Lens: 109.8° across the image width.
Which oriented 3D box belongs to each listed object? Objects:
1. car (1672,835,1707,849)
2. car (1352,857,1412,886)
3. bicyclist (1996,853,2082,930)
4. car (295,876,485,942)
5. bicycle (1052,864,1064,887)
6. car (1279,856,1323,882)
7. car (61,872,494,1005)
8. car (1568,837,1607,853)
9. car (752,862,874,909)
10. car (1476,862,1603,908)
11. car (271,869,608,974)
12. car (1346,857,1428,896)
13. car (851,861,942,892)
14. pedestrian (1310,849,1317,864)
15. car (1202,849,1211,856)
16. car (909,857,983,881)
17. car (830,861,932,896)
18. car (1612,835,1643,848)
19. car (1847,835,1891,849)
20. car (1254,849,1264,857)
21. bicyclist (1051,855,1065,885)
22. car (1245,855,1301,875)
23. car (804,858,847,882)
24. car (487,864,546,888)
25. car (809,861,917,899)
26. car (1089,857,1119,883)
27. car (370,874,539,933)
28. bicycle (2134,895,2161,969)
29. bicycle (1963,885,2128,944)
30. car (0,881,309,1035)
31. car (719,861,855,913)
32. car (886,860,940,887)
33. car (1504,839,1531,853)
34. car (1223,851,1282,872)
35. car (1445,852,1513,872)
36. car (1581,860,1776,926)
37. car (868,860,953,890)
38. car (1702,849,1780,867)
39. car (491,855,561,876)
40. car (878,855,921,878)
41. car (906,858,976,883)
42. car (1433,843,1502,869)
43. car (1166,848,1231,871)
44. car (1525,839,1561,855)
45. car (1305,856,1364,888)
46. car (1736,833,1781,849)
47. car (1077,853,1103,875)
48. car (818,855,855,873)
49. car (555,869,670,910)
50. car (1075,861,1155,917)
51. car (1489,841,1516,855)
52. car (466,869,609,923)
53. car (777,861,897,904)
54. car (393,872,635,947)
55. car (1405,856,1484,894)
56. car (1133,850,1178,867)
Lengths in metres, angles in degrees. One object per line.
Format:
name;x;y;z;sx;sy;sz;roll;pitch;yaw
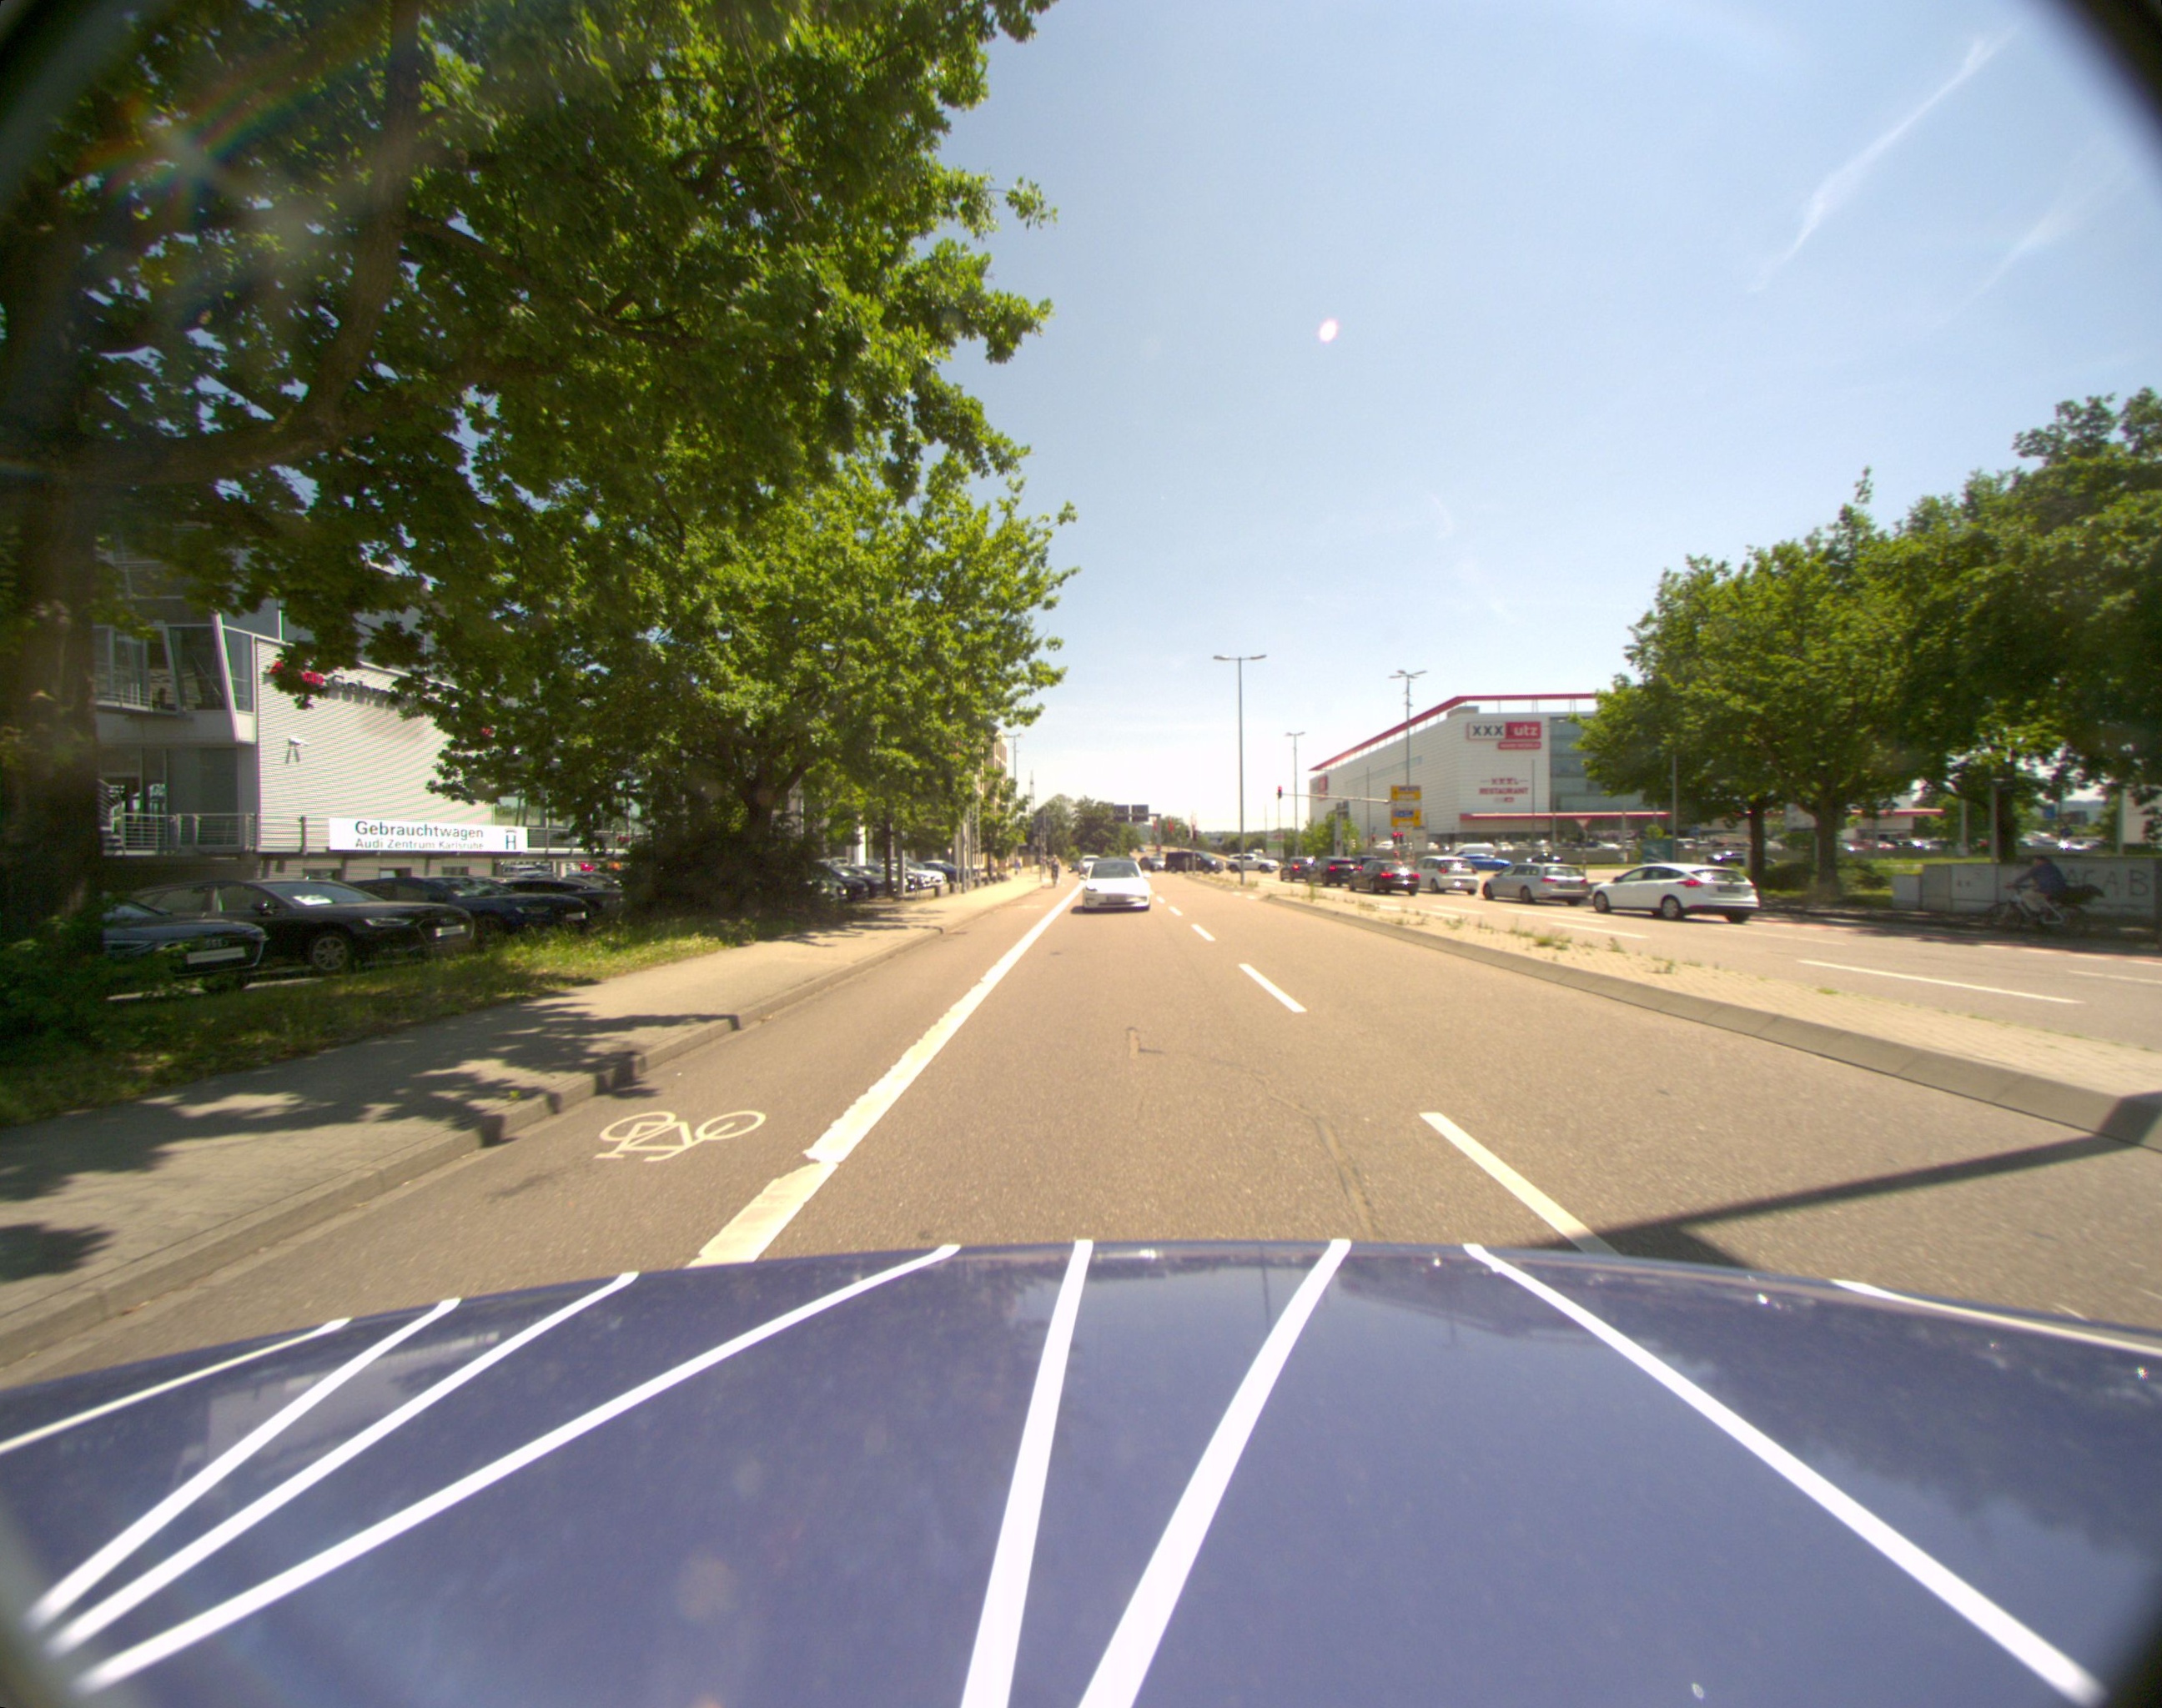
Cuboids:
car;87.322;-1.715;109.048;1.998;1.889;4.001;-1;0;3
car;16.033;0.887;40.681;1.664;1.416;4.038;0;1;2
bicyclist;21.524;0.819;17.090;0.746;1.676;0.952;-1;1;5
car;-20.733;1.624;22.917;3.995;1.645;1.850;-3;0;2
bicycle;-1.230;1.138;40.780;0.629;1.126;1.894;-1;0;-1
car;13.023;0.848;45.213;1.647;1.381;3.716;1;1;3
car;-11.417;1.153;11.022;4.335;1.399;1.825;-4;0;2
car;64.581;-1.088;96.939;1.999;2.002;4.328;-1;0;-2
car;-9.629;1.106;27.519;3.690;1.445;1.834;-3;0;2
car;15.975;1.013;26.805;1.750;1.414;4.623;1;0;1
car;-11.342;1.152;13.650;4.460;1.384;1.834;-4;0;2
car;12.842;0.882;32.199;1.730;1.437;4.720;1;1;3
car;-9.407;1.132;38.891;4.109;1.341;1.869;-3;0;2
pedestrian;27.839;0.255;90.997;0.604;1.773;0.827;-1;0;7
car;32.843;-0.373;199.285;1.998;1.587;4.000;-1;2;4
car;-9.181;1.015;51.907;4.603;1.382;1.869;-3;0;2
car;-9.423;1.120;36.072;4.236;1.382;1.869;-3;0;2
car;82.754;-1.867;115.136;1.998;2.002;4.000;-1;0;3
car;98.533;-1.456;95.033;1.783;1.747;3.649;-1;0;0
car;54.383;-0.258;232.371;2.191;2.269;4.815;-1;0;5
bicyclist;-1.238;0.865;40.834;0.629;1.596;0.825;-2;0;-1
car;15.129;0.846;59.785;4.080;1.375;1.772;-1;4;19
car;-18.800;1.146;56.145;1.849;1.645;3.997;-3;0;-2
car;-40.530;1.554;54.514;3.792;1.496;1.691;0;3;24
car;-9.531;1.125;33.404;4.110;1.396;1.869;-3;0;2
car;1.430;0.970;46.736;1.556;1.528;3.822;0;0;6
car;-20.650;1.599;25.159;3.995;1.645;1.850;-3;0;2
bicycle;17.271;1.243;11.169;0.630;1.152;2.117;1;0;1
bicycle;21.528;1.314;17.066;0.741;1.119;2.435;-1;0;5
car;-11.599;1.166;8.379;4.231;1.348;1.879;-4;0;2
car;-9.619;1.070;25.091;3.690;1.445;1.834;-3;0;2
car;-9.935;1.120;45.337;1.867;1.411;4.663;-3;0;4
car;64.756;-1.159;112.693;1.782;2.002;4.136;-1;0;3
car;14.718;0.618;65.263;4.479;1.631;1.774;-2;0;32
car;31.857;0.674;60.863;4.425;1.394;1.772;-3;0;6
car;15.627;0.949;20.242;1.731;1.437;4.451;1;1;1
car;-9.305;1.125;41.623;4.106;1.356;1.874;-3;0;2
car;51.021;0.319;58.784;4.462;1.396;1.677;0;0;4
car;-46.432;0.958;63.574;4.583;1.684;1.914;-1;0;5
car;-13.354;0.903;56.127;1.872;1.549;4.503;0;1;3
car;-9.063;1.077;49.452;4.106;1.382;1.869;-3;0;2
car;33.793;0.161;66.531;5.042;2.170;2.001;-1;0;7
car;9.828;0.483;63.859;5.108;1.811;2.004;-1;0;43
car;59.213;-0.886;97.446;1.999;2.002;4.328;-1;0;-1
car;12.990;0.887;39.204;1.730;1.496;4.243;1;1;3
car;86.072;-1.587;96.551;1.998;2.002;4.330;-1;0;3
car;0.761;0.811;62.770;1.798;1.728;3.822;0;0;6
car;-27.050;1.126;83.999;1.924;1.875;4.919;-1;-1;-42
car;-20.623;1.547;33.511;3.992;1.564;1.633;-3;0;2
car;0.908;0.957;22.519;1.824;1.427;4.282;-2;0;-4
car;62.487;-0.941;112.802;1.782;2.002;4.234;-1;0;3
car;-20.521;1.565;28.787;3.995;1.645;1.850;-5;0;2
car;-9.686;1.116;30.404;4.110;1.445;1.869;-3;0;2
car;-13.851;1.299;18.769;1.847;1.307;4.471;-4;0;44
car;16.066;0.903;33.834;1.731;1.535;3.915;0;1;2
car;7.035;0.452;71.890;3.888;1.414;1.774;-3;-1;38
